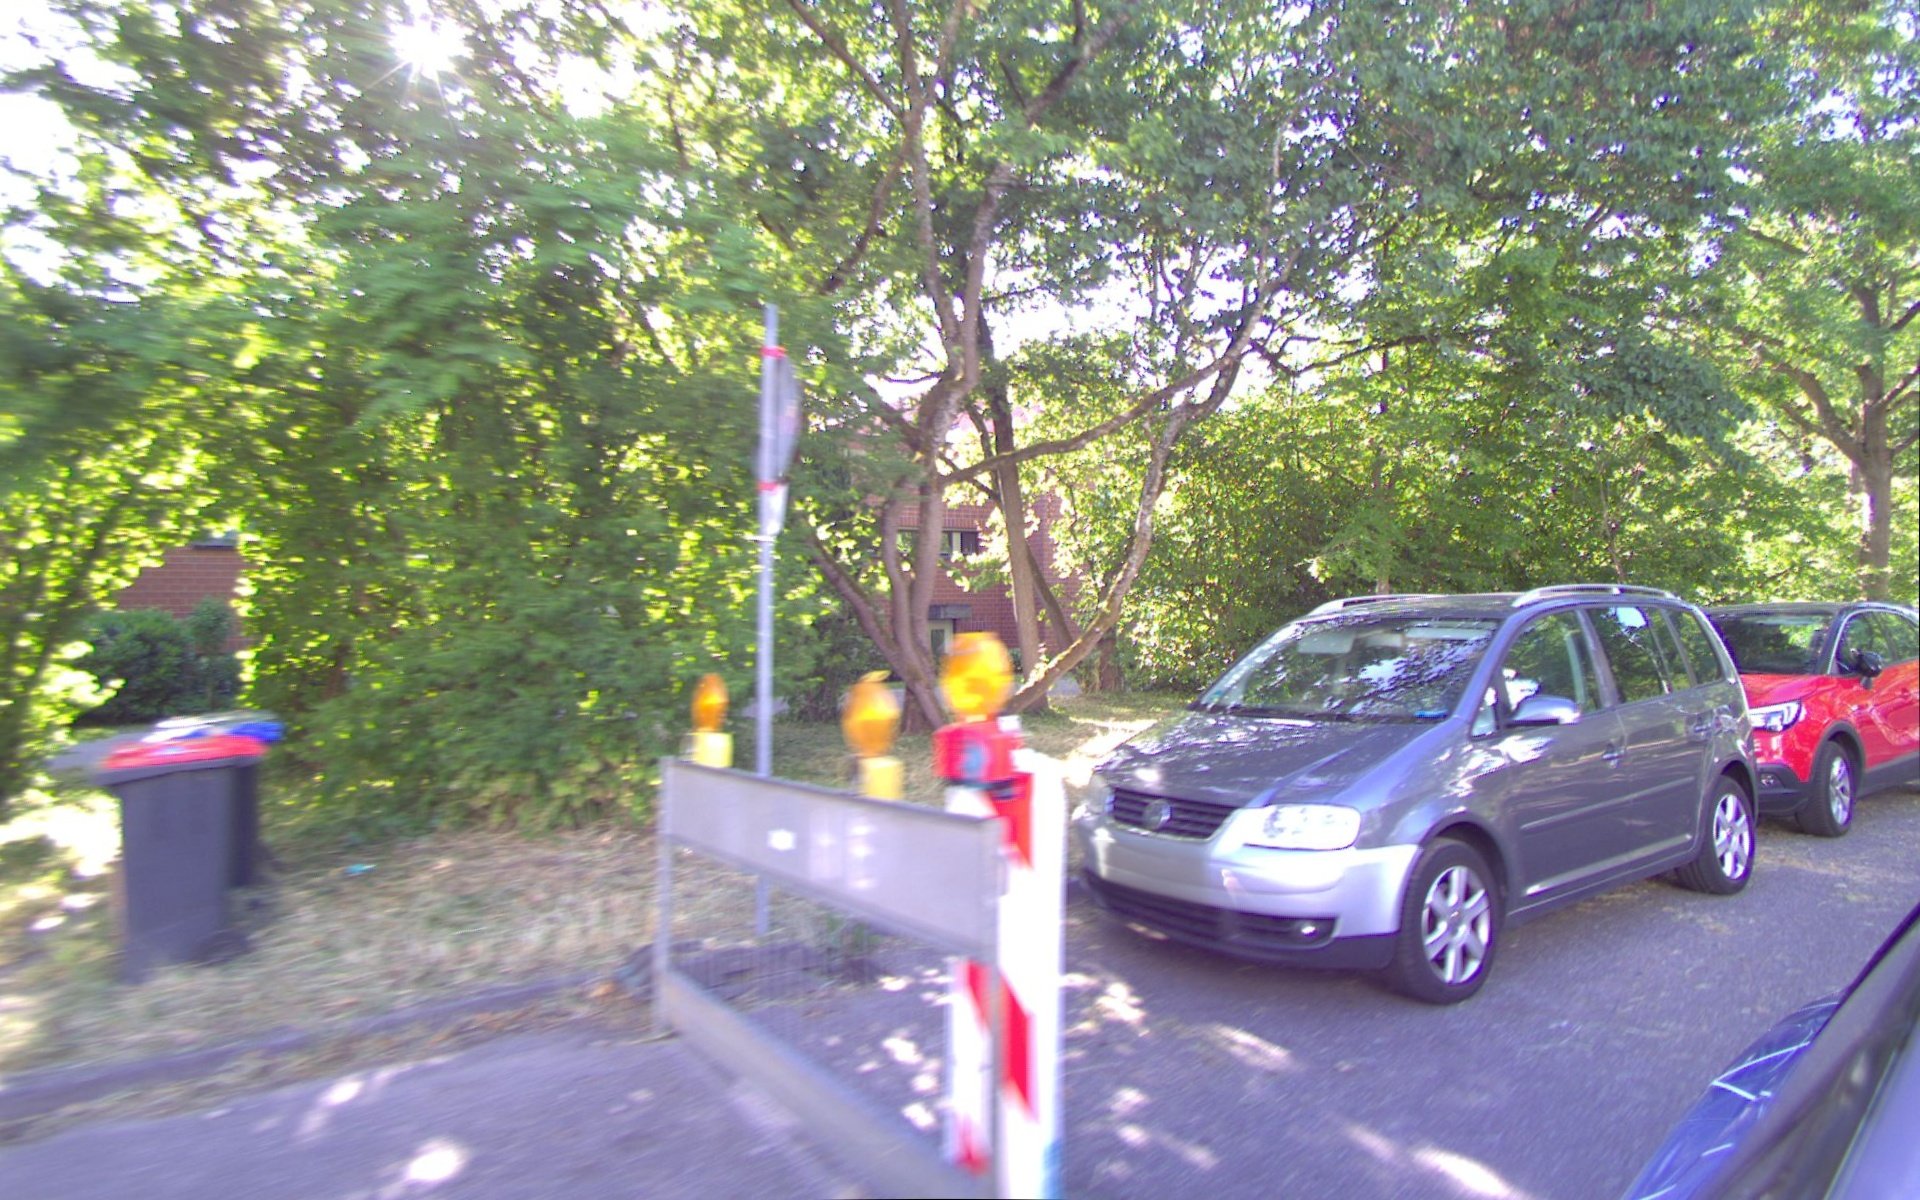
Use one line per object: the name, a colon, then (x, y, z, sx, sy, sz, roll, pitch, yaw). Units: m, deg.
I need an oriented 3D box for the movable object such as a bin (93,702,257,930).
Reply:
movable object such as a bin: (-3.480, 0.923, 4.524, 0.549, 0.872, 0.485, 0, -2, -34)

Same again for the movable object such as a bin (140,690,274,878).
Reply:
movable object such as a bin: (-3.980, 0.944, 5.383, 0.549, 0.872, 0.485, 0, -2, -34)

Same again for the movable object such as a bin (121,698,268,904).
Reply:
movable object such as a bin: (-3.723, 0.947, 4.960, 0.549, 0.872, 0.485, 0, -2, -34)

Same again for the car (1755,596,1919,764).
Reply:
car: (10.213, 0.736, 10.671, 4.070, 1.529, 1.717, 0, -2, -35)

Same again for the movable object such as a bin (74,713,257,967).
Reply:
movable object such as a bin: (-3.201, 0.930, 4.118, 0.549, 0.872, 0.485, 0, -2, -34)

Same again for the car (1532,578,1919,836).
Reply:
car: (6.538, 0.680, 8.030, 3.986, 1.594, 1.685, 0, -2, -31)

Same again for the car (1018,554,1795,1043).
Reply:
car: (2.450, 0.687, 5.239, 4.057, 1.643, 1.684, 0, -2, -33)
